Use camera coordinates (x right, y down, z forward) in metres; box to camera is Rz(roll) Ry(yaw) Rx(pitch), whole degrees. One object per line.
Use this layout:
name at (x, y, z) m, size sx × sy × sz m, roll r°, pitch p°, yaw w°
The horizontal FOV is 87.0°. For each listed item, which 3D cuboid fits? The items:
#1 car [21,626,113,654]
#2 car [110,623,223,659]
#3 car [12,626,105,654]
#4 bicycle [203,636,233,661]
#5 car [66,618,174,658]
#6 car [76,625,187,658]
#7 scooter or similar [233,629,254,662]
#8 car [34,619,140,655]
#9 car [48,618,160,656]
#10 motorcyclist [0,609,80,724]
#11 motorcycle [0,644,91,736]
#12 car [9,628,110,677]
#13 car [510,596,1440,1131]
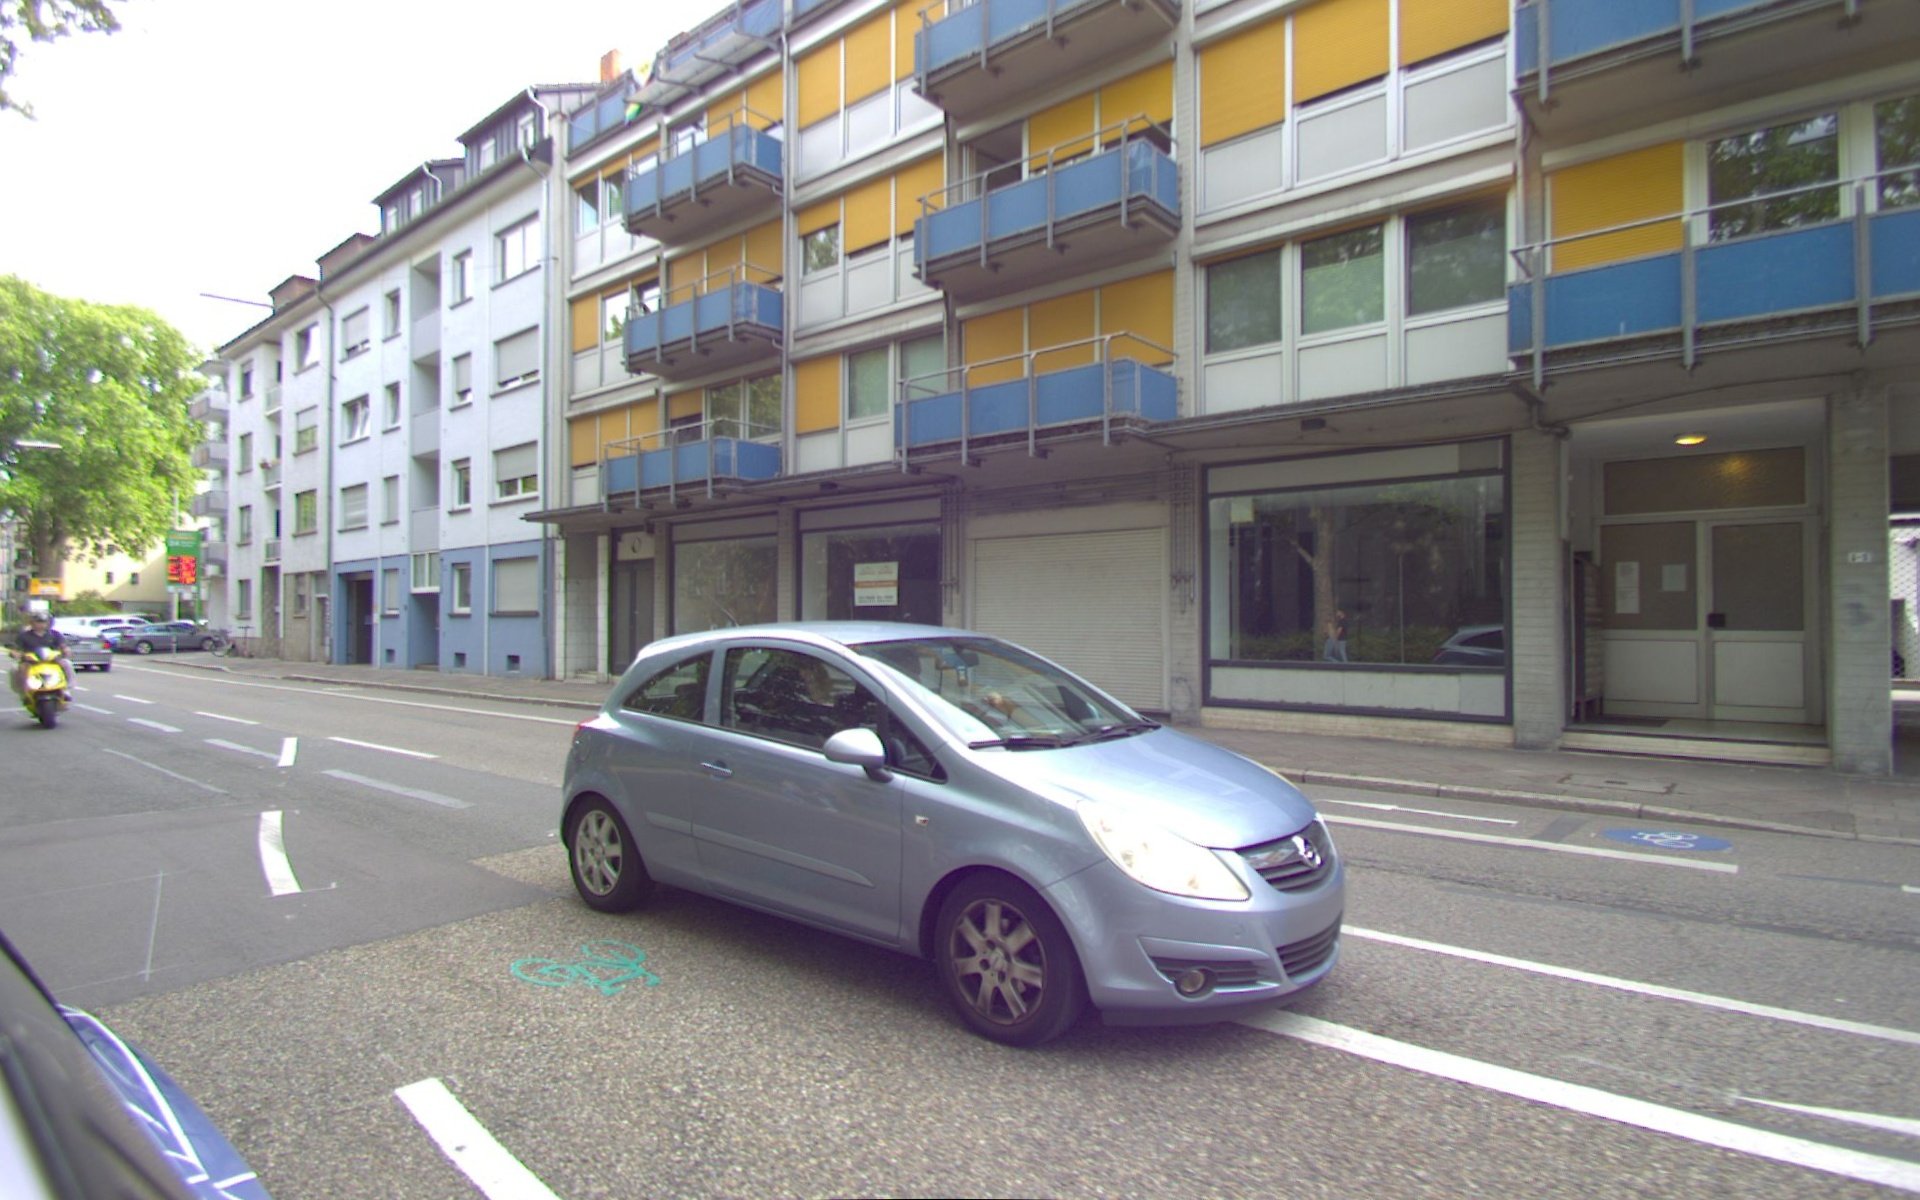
car at (-58.759, 2.617, 66.623) m, size 1.732 × 1.560 × 4.316 m, roll -2°, pitch 0°, yaw 41°
car at (-39.209, 2.020, 50.093) m, size 1.836 × 1.525 × 4.108 m, roll -2°, pitch 0°, yaw 41°
car at (-60.562, 2.652, 68.074) m, size 1.753 × 1.618 × 4.471 m, roll -2°, pitch 0°, yaw 41°
bicycle at (-29.598, 1.919, 40.364) m, size 1.661 × 0.957 × 0.591 m, roll -2°, pitch -1°, yaw 41°
car at (-45.126, 2.006, 54.441) m, size 1.923 × 1.862 × 4.168 m, roll -2°, pitch 0°, yaw 41°
car at (-43.320, 2.160, 52.977) m, size 1.873 × 1.462 × 4.227 m, roll -2°, pitch 0°, yaw 41°
scooter or similar at (-27.434, 1.747, 38.742) m, size 1.201 × 1.231 × 0.346 m, roll -2°, pitch -1°, yaw 41°
car at (-52.079, 2.178, 60.443) m, size 1.949 × 1.873 × 4.568 m, roll -2°, pitch 0°, yaw 41°
car at (-49.996, 2.120, 59.163) m, size 1.993 × 1.949 × 4.717 m, roll -2°, pitch 0°, yaw 41°
motorcyclist at (-13.643, 0.956, 14.938) m, size 0.691 × 1.630 × 0.893 m, roll -2°, pitch -2°, yaw 41°
motorcycle at (-13.642, 1.273, 14.923) m, size 2.629 × 1.206 × 0.893 m, roll -2°, pitch -2°, yaw 41°
car at (-28.248, 1.614, 31.711) m, size 4.095 × 1.438 × 1.740 m, roll -1°, pitch -3°, yaw 40°
car at (-0.260, 0.756, 4.746) m, size 4.249 × 1.431 × 1.695 m, roll -2°, pitch -2°, yaw 40°
